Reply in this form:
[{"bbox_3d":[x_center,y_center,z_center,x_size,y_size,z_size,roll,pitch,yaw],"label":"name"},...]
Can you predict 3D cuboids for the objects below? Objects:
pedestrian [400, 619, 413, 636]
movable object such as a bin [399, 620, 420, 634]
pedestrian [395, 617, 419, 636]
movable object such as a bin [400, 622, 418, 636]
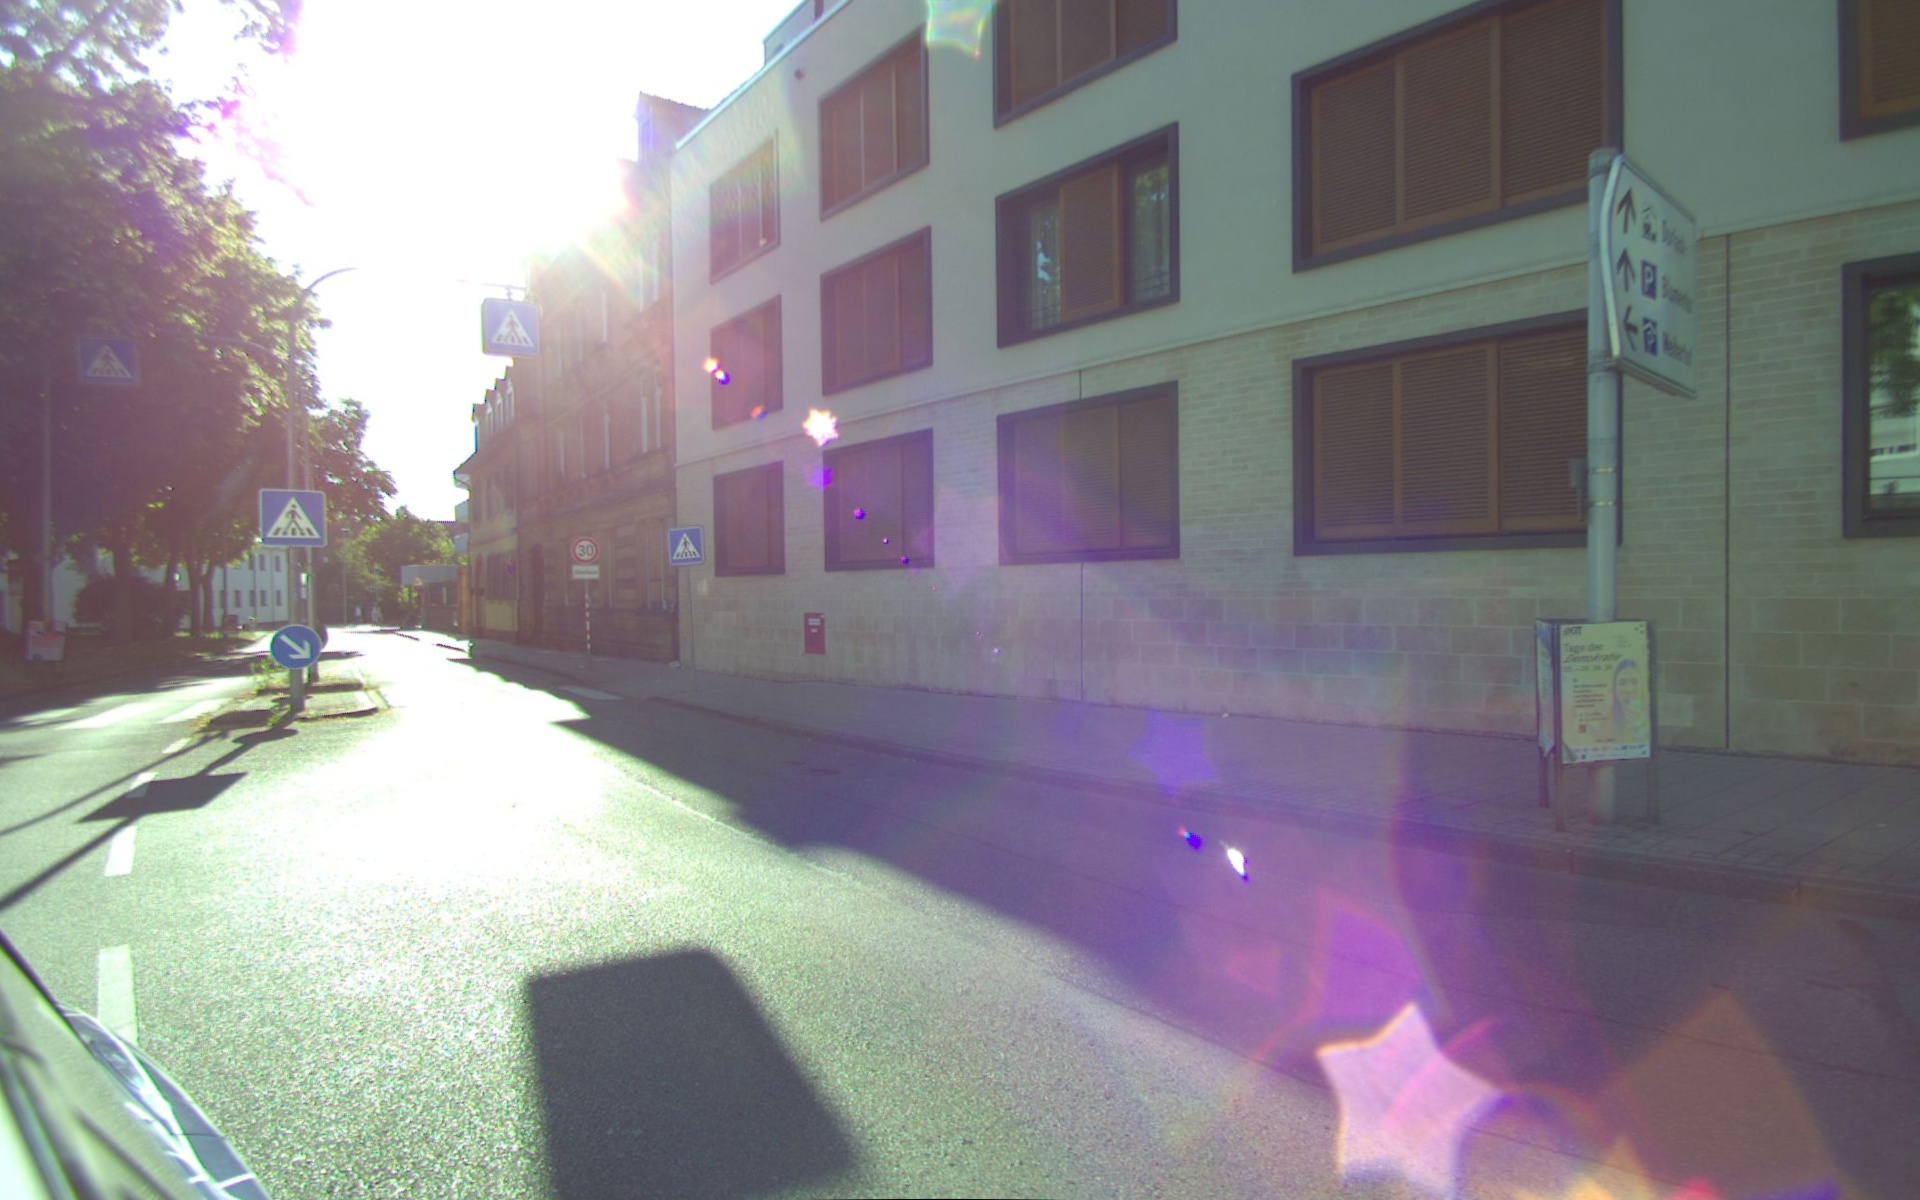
[{"bbox_3d":[-42.347,2.100,77.422,0.731,1.194,0.842,-4,1,-40],"label":"pedestrian"},{"bbox_3d":[-38.956,1.923,71.637,1.024,0.935,0.840,-3,1,2],"label":"movable object such as a bin"},{"bbox_3d":[-39.134,1.883,71.647,1.142,1.238,0.840,-3,1,2],"label":"pedestrian"},{"bbox_3d":[-42.206,2.223,77.525,1.022,0.935,0.842,-4,1,-40],"label":"movable object such as a bin"}]
